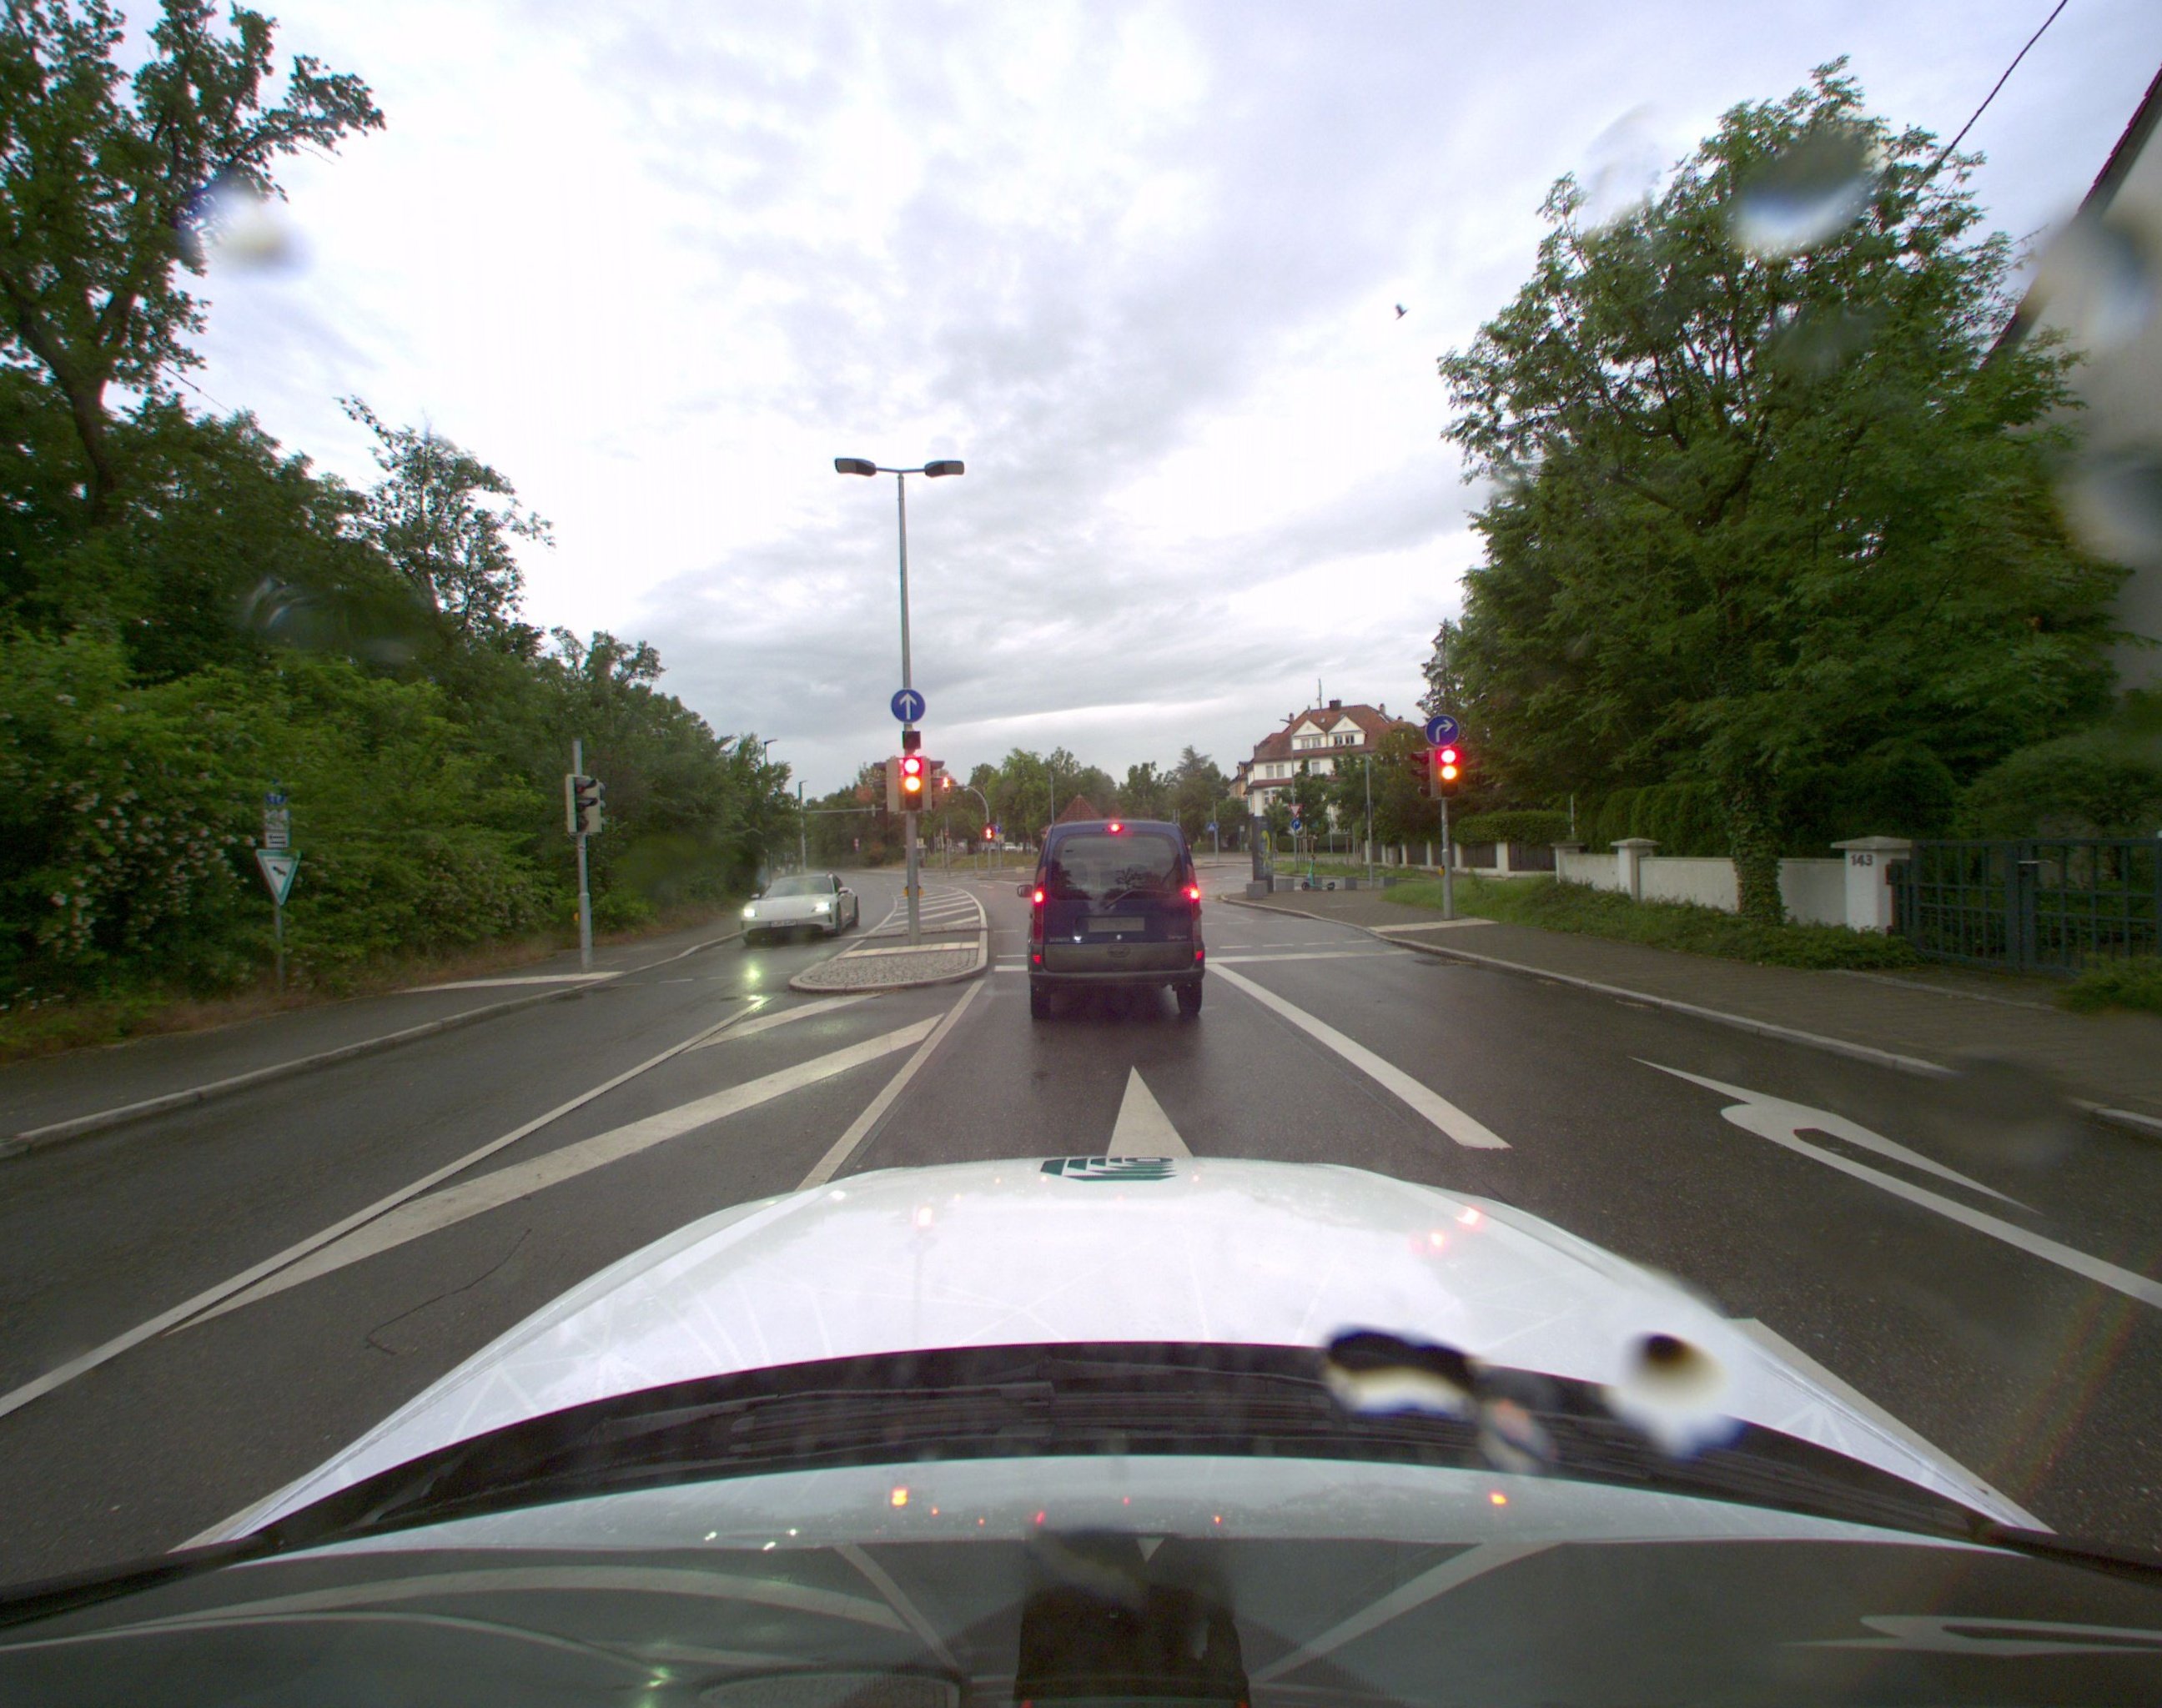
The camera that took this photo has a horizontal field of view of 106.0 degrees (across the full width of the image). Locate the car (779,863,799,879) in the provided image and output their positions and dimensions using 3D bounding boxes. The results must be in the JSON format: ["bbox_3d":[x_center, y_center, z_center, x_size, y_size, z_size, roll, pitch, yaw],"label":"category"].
[{"bbox_3d":[-38.919,2.235,108.393,2.004,2.014,3.965,-1,-1,-27],"label":"car"}]

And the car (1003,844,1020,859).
[{"bbox_3d":[-9.365,-0.311,110.287,1.989,1.812,3.996,-1,-1,-2],"label":"car"}]

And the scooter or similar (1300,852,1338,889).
[{"bbox_3d":[8.086,0.558,27.715,1.145,1.219,0.406,-2,-1,1],"label":"scooter or similar"}]

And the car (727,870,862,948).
[{"bbox_3d":[-6.344,1.149,18.583,1.993,1.311,4.347,-5,1,-8],"label":"car"}]

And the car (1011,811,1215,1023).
[{"bbox_3d":[0.284,0.536,9.037,1.726,1.786,3.999,-1,0,0],"label":"car"}]
